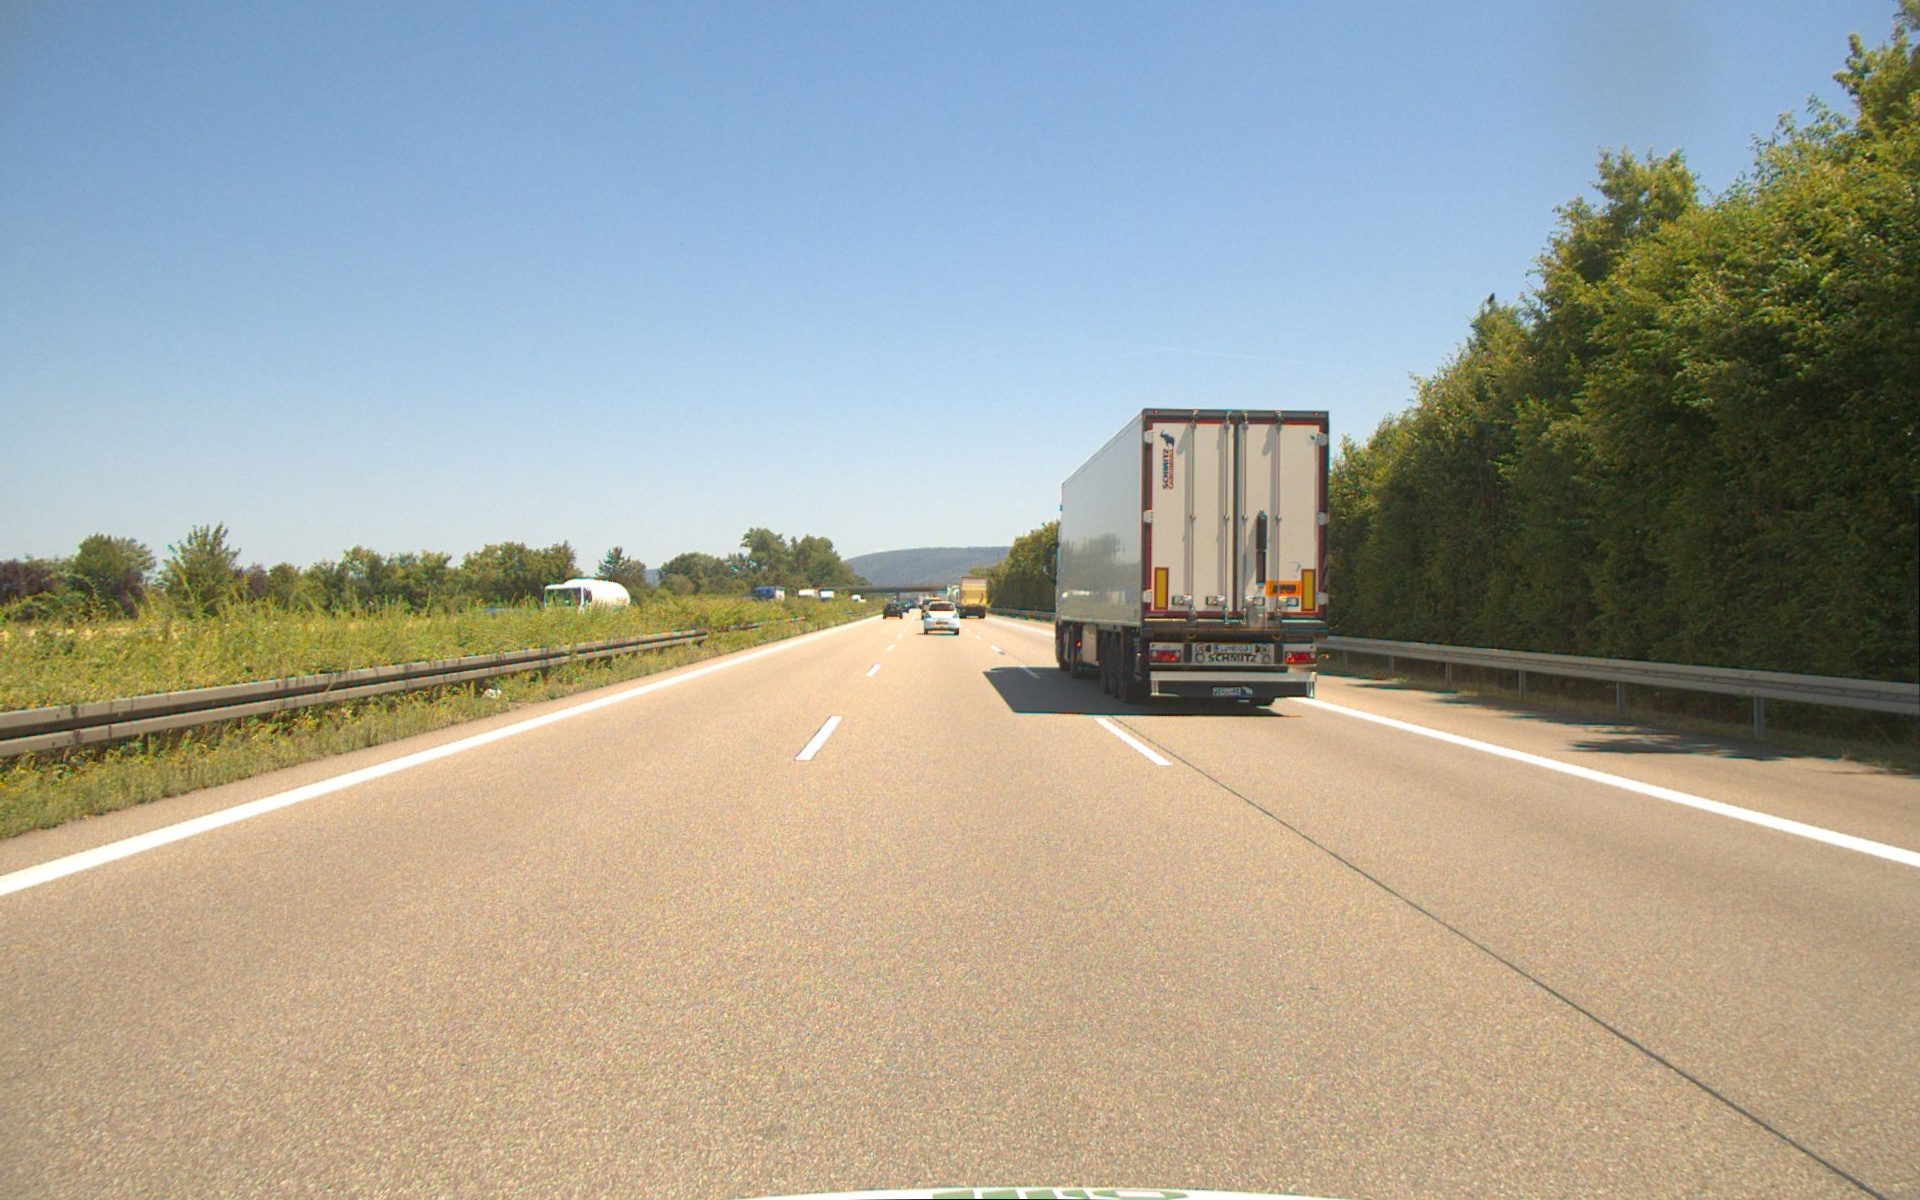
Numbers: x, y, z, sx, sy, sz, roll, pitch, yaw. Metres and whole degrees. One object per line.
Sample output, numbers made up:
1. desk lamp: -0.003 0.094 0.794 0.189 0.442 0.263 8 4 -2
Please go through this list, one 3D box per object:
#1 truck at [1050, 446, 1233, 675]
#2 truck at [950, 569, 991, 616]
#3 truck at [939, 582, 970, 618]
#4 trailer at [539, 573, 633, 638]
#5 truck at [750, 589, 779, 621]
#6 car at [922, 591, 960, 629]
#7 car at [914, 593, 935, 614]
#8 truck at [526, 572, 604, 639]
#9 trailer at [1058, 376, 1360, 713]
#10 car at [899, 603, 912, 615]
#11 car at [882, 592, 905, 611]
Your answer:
1. truck: 3.721 -0.790 35.609 3.152 4.421 6.590 1 0 0
2. truck: 0.935 -0.755 165.763 3.793 4.421 13.858 1 0 -1
3. truck: -0.804 0.025 225.375 4.184 4.733 13.857 0 0 -1
4. trailer: -22.110 0.317 98.425 3.162 3.578 11.766 0 0 -1
5. truck: -24.216 0.580 205.103 3.070 3.899 5.832 0 0 -2
6. car: -0.913 0.452 78.040 1.697 1.713 3.999 -1 0 -2
7. car: -3.073 0.324 142.724 1.750 1.742 3.999 1 0 -2
8. truck: -21.957 0.312 92.278 3.162 3.578 5.433 0 0 -2
9. trailer: 3.717 -0.764 28.845 3.152 4.421 13.628 1 0 0
10. car: -7.727 1.278 232.933 1.759 1.578 3.999 0 0 -1
11. car: -6.066 0.114 151.281 1.953 1.742 3.999 1 0 -2
